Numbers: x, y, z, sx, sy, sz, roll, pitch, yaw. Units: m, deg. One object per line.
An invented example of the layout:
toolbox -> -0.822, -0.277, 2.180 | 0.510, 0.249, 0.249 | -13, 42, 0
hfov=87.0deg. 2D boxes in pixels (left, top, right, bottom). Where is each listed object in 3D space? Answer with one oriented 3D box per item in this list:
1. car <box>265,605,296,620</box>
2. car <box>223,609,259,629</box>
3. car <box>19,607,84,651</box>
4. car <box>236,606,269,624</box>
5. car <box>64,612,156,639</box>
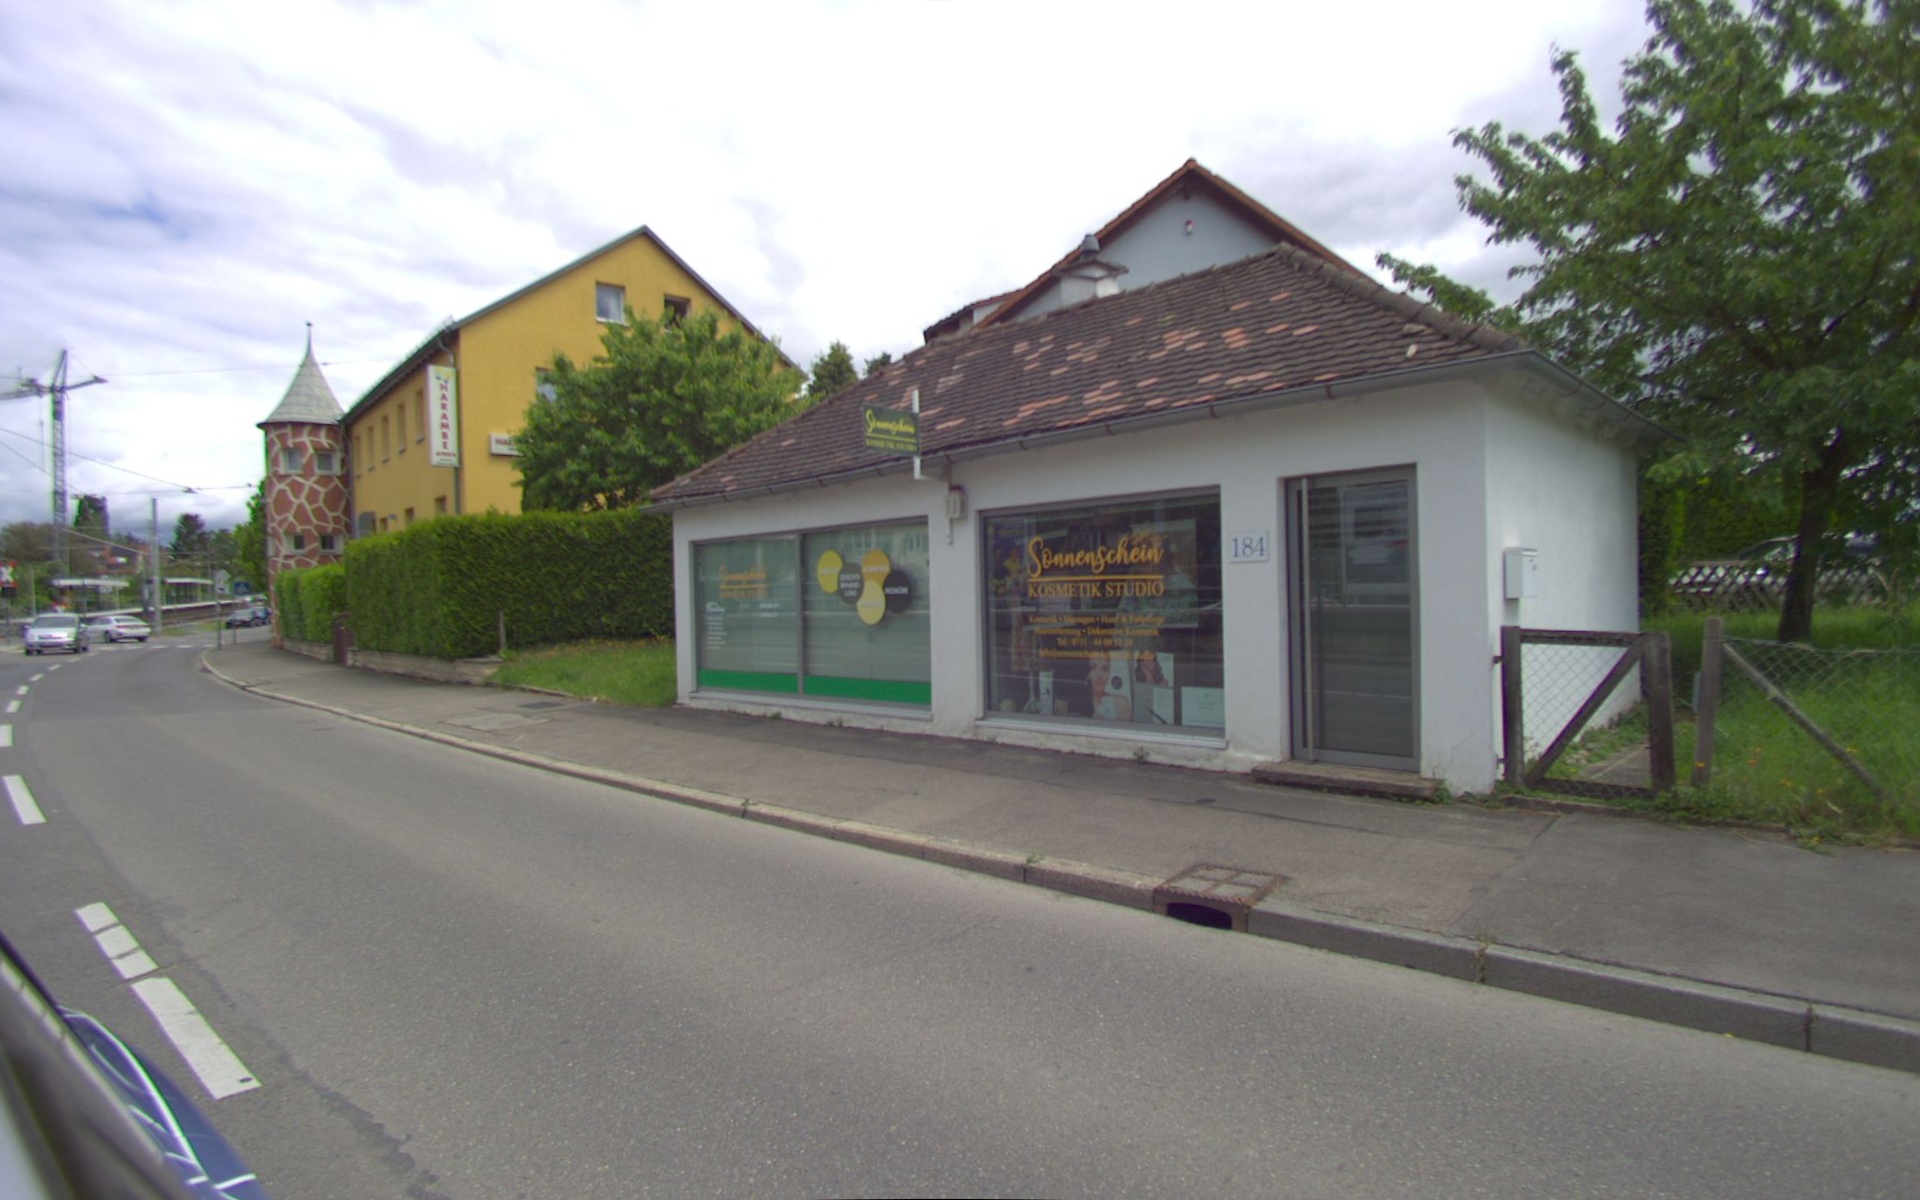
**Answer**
car -> -66.735, 1.208, 99.451 | 1.823, 1.386, 4.013 | -2, 1, -25
car -> -59.577, 1.526, 83.941 | 1.791, 1.513, 4.133 | -2, 1, -27
car -> -36.135, 1.118, 40.329 | 1.700, 1.580, 3.934 | -3, 1, -40
car -> -62.693, 1.319, 89.703 | 1.791, 1.513, 4.133 | -2, 1, -27
car -> -46.898, 1.409, 55.849 | 4.426, 1.430, 1.814 | 0, -1, 18
